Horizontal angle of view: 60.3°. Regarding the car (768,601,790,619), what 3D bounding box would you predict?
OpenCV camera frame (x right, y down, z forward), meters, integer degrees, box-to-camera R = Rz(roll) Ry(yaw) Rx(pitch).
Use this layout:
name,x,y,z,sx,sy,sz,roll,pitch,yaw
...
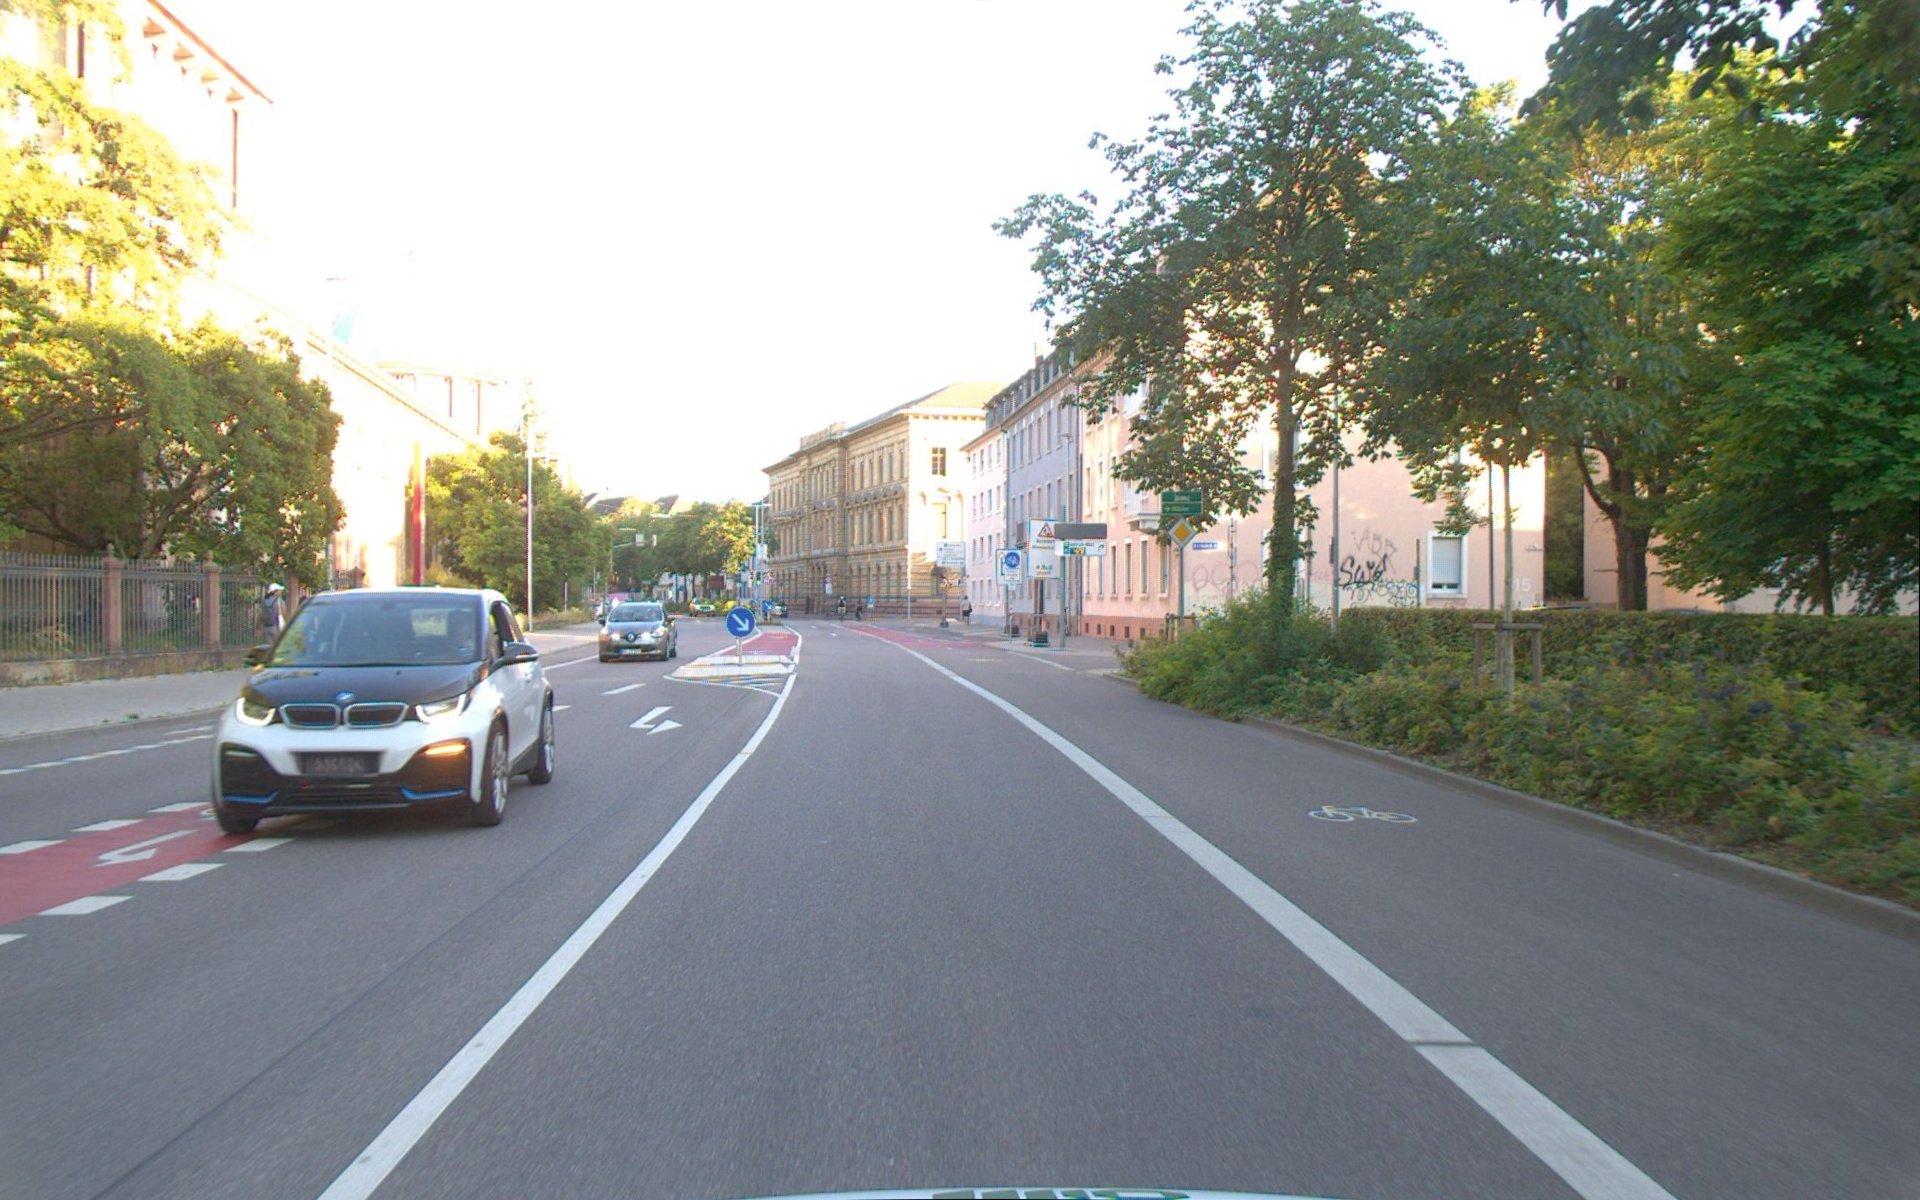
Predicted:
name,x,y,z,sx,sy,sz,roll,pitch,yaw
car,-15.532,0.842,141.702,1.832,1.536,3.994,1,0,-6

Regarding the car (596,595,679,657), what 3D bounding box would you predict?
name,x,y,z,sx,sy,sz,roll,pitch,yaw
car,-8.161,0.635,42.157,1.801,1.464,3.993,-1,0,-8

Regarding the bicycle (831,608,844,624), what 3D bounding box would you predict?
name,x,y,z,sx,sy,sz,roll,pitch,yaw
bicycle,-8.268,1.094,111.949,0.638,1.033,2.198,3,0,1

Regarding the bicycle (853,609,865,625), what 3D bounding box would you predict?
name,x,y,z,sx,sy,sz,roll,pitch,yaw
bicycle,-6.843,1.162,111.996,0.638,1.033,2.198,3,0,1

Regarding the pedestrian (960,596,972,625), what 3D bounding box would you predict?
name,x,y,z,sx,sy,sz,roll,pitch,yaw
pedestrian,0.362,0.648,102.897,0.746,1.785,0.845,1,0,1

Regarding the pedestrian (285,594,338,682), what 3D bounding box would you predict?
name,x,y,z,sx,sy,sz,roll,pitch,yaw
pedestrian,-12.352,0.709,31.502,0.666,1.651,0.689,0,0,11

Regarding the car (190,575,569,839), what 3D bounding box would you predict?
name,x,y,z,sx,sy,sz,roll,pitch,yaw
car,-3.980,0.635,12.036,1.814,1.553,3.993,-1,0,-8

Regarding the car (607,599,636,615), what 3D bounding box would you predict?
name,x,y,z,sx,sy,sz,roll,pitch,yaw
car,-35.220,0.707,171.918,1.970,1.613,3.966,1,0,-27

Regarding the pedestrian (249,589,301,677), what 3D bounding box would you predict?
name,x,y,z,sx,sy,sz,roll,pitch,yaw
pedestrian,-13.092,0.623,31.630,0.666,1.651,0.689,0,0,3

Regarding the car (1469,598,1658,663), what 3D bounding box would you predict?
name,x,y,z,sx,sy,sz,roll,pitch,yaw
car,15.483,0.773,42.598,4.155,1.507,1.870,-2,0,-1

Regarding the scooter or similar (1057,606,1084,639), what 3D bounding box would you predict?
name,x,y,z,sx,sy,sz,roll,pitch,yaw
scooter or similar,4.758,0.966,71.371,0.618,1.360,2.395,1,0,-10

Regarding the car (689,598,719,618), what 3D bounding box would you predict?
name,x,y,z,sx,sy,sz,roll,pitch,yaw
car,-21.479,0.691,138.667,1.962,1.613,3.981,1,0,-17

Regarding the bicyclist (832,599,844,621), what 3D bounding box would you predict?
name,x,y,z,sx,sy,sz,roll,pitch,yaw
bicyclist,-8.252,0.681,112.009,0.638,1.471,0.879,3,0,1

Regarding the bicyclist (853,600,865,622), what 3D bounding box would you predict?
name,x,y,z,sx,sy,sz,roll,pitch,yaw
bicyclist,-6.830,0.736,111.945,0.638,1.501,0.941,3,0,1
